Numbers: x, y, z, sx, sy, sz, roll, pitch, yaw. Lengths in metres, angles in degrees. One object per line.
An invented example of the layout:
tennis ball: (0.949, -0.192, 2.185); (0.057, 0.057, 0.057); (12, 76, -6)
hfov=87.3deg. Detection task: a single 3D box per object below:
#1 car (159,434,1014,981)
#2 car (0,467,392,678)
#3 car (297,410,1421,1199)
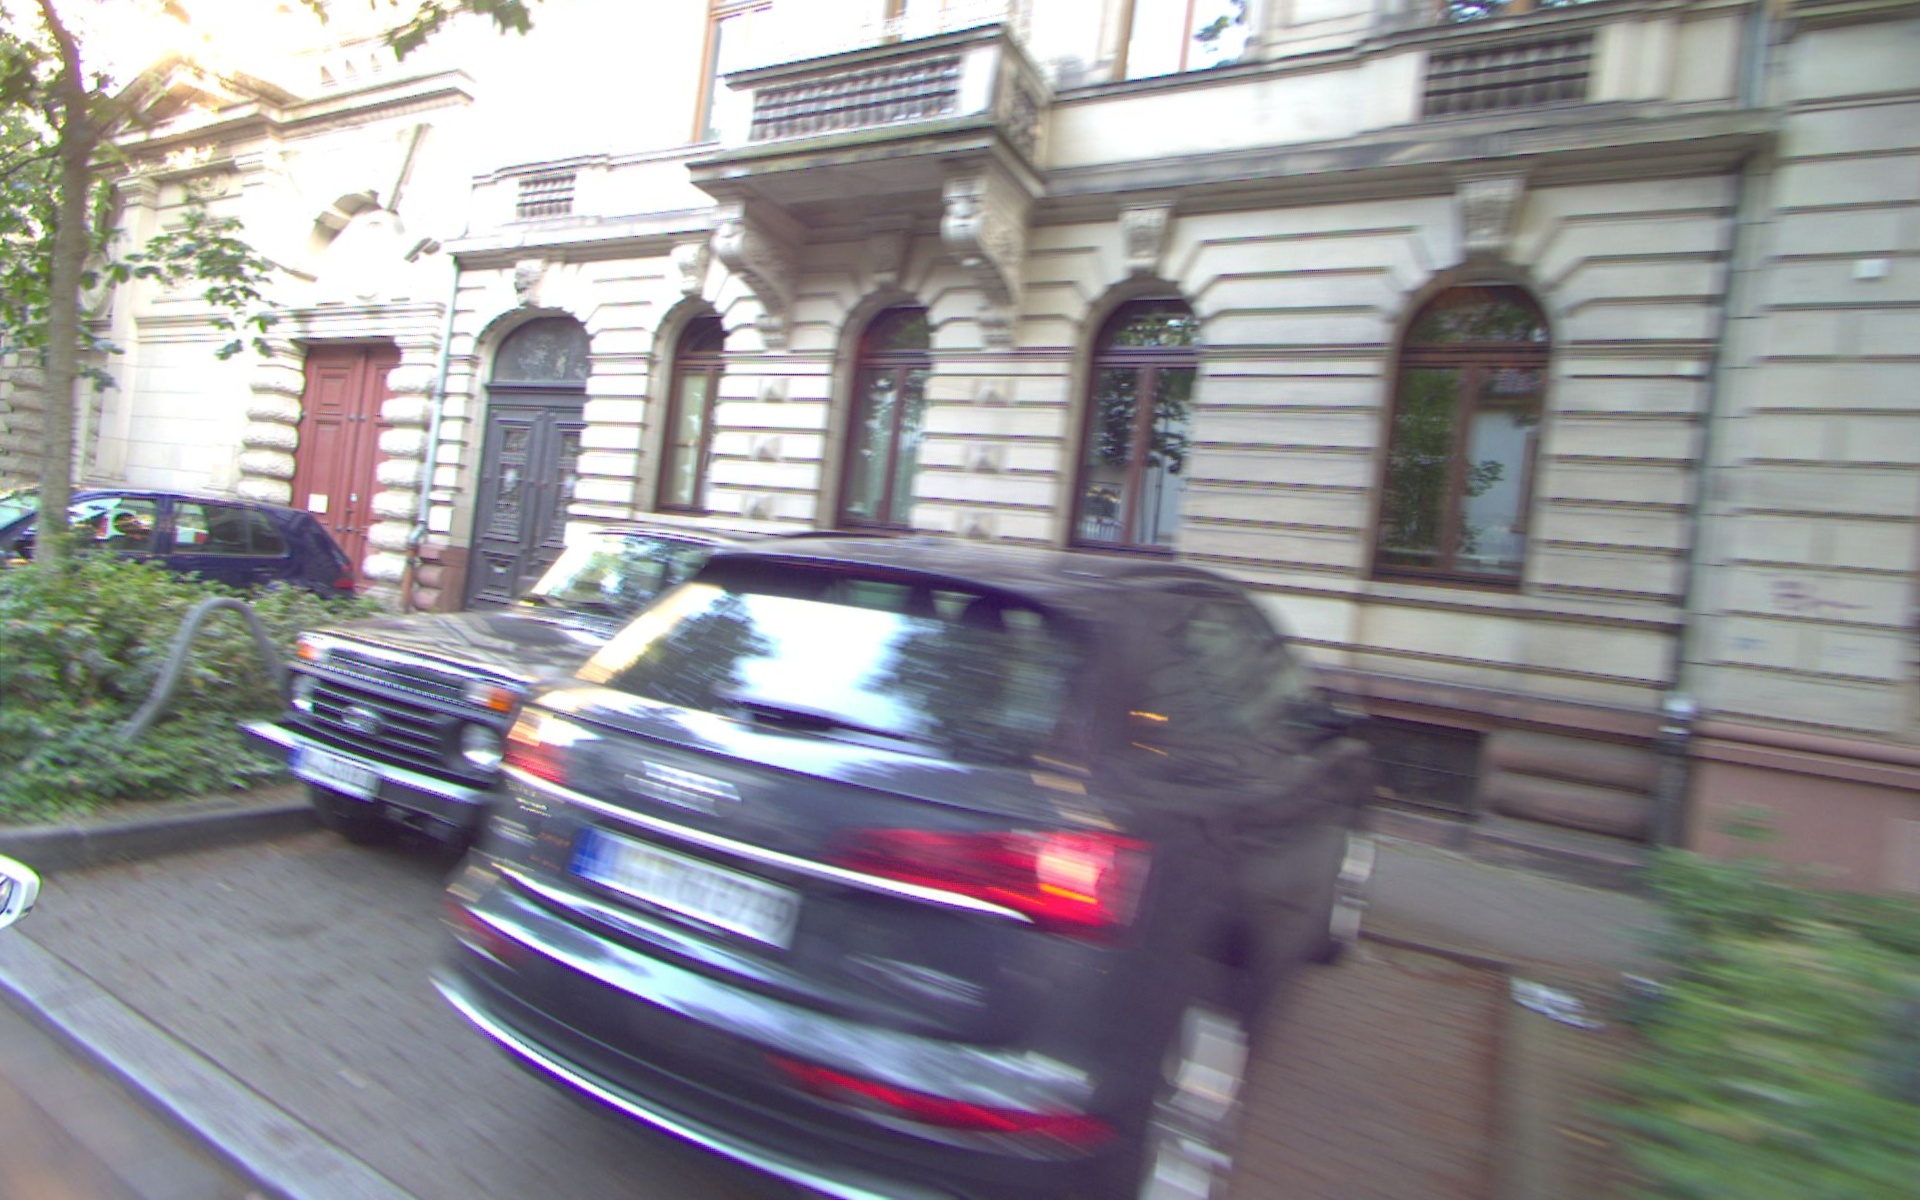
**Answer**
car: (-1.447, 0.422, 5.413); (1.734, 1.707, 4.016); (8, 0, 29)
car: (-7.274, -0.263, 8.176); (1.823, 1.500, 4.228); (7, 2, 29)
car: (0.437, 0.648, 3.809); (1.934, 1.739, 4.447); (6, 0, 29)
